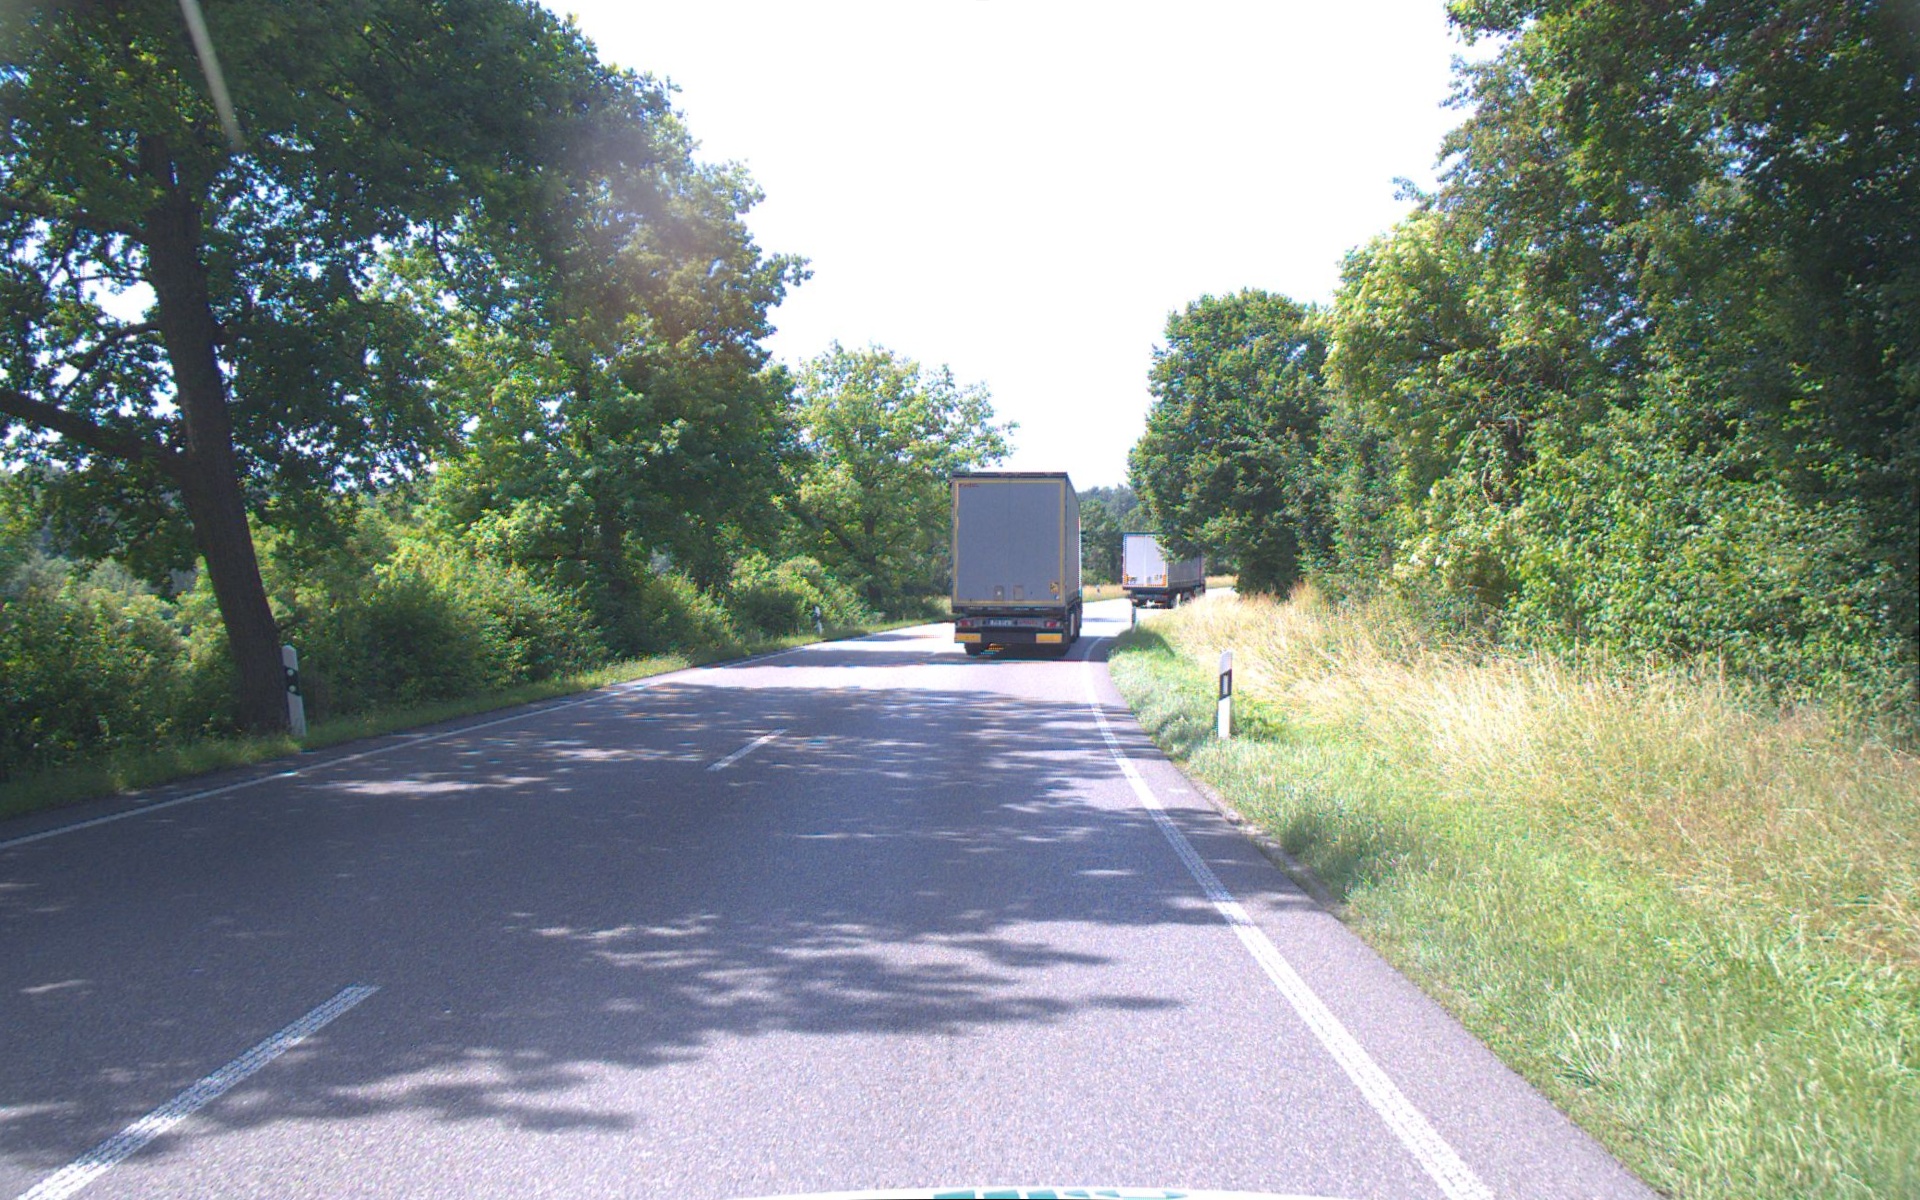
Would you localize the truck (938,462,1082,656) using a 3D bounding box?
[{"bbox_3d":[1.637,-0.988,43.028,2.742,4.139,15.336,0,1,5],"label":"truck"}]

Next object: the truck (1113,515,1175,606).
[{"bbox_3d":[10.948,-2.263,96.926,3.039,4.787,16.604,-1,1,8],"label":"truck"}]
